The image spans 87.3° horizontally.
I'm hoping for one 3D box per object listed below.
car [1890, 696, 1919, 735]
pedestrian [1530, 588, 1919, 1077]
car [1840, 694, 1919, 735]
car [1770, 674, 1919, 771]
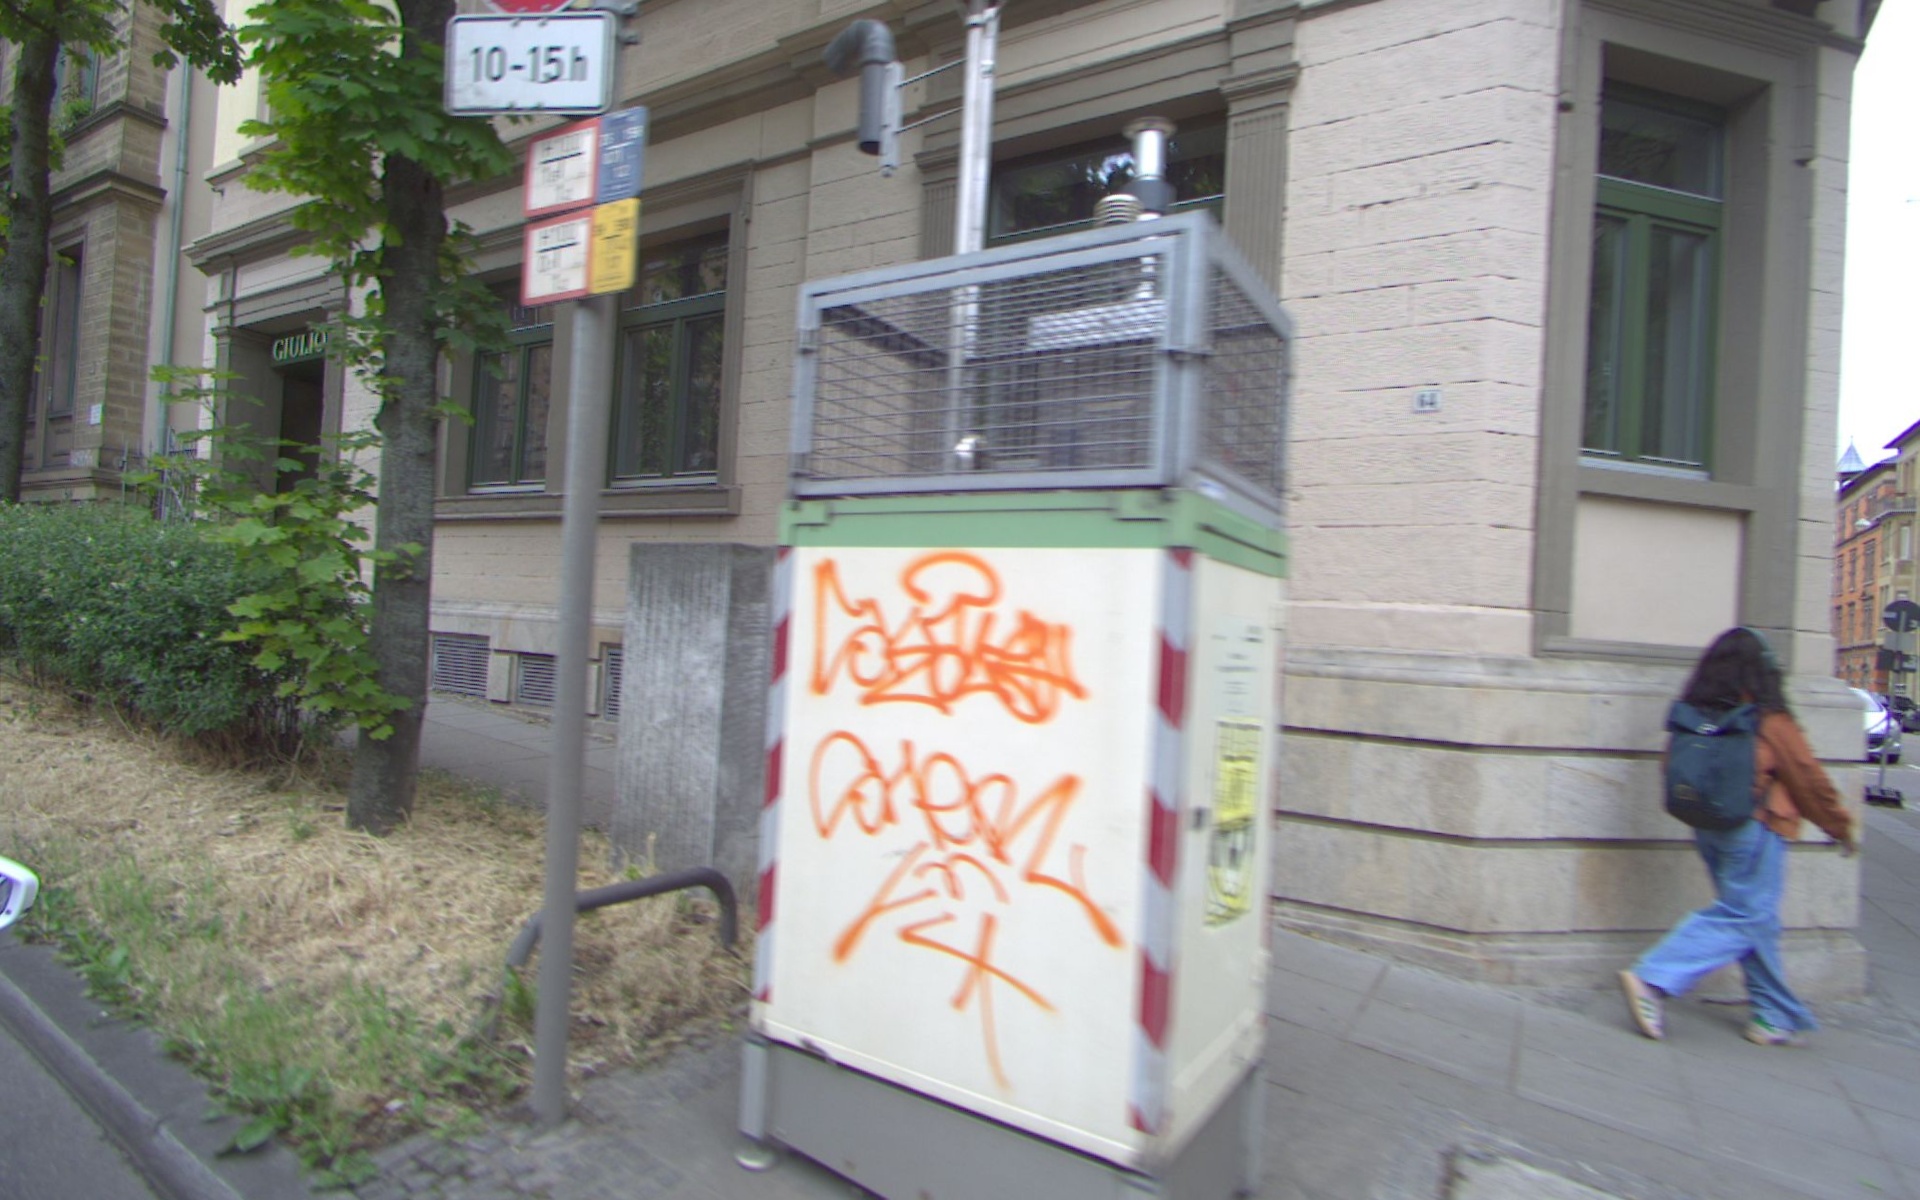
[{"bbox_3d":[36.444,4.409,37.382,1.781,1.395,4.038,7,-1,30],"label":"car"},{"bbox_3d":[3.119,0.864,3.988,1.108,1.683,0.711,7,1,-9],"label":"pedestrian"},{"bbox_3d":[40.432,4.981,44.214,1.781,1.396,4.036,7,0,30],"label":"car"},{"bbox_3d":[19.295,2.571,21.953,1.781,1.493,4.087,7,3,31],"label":"car"}]
